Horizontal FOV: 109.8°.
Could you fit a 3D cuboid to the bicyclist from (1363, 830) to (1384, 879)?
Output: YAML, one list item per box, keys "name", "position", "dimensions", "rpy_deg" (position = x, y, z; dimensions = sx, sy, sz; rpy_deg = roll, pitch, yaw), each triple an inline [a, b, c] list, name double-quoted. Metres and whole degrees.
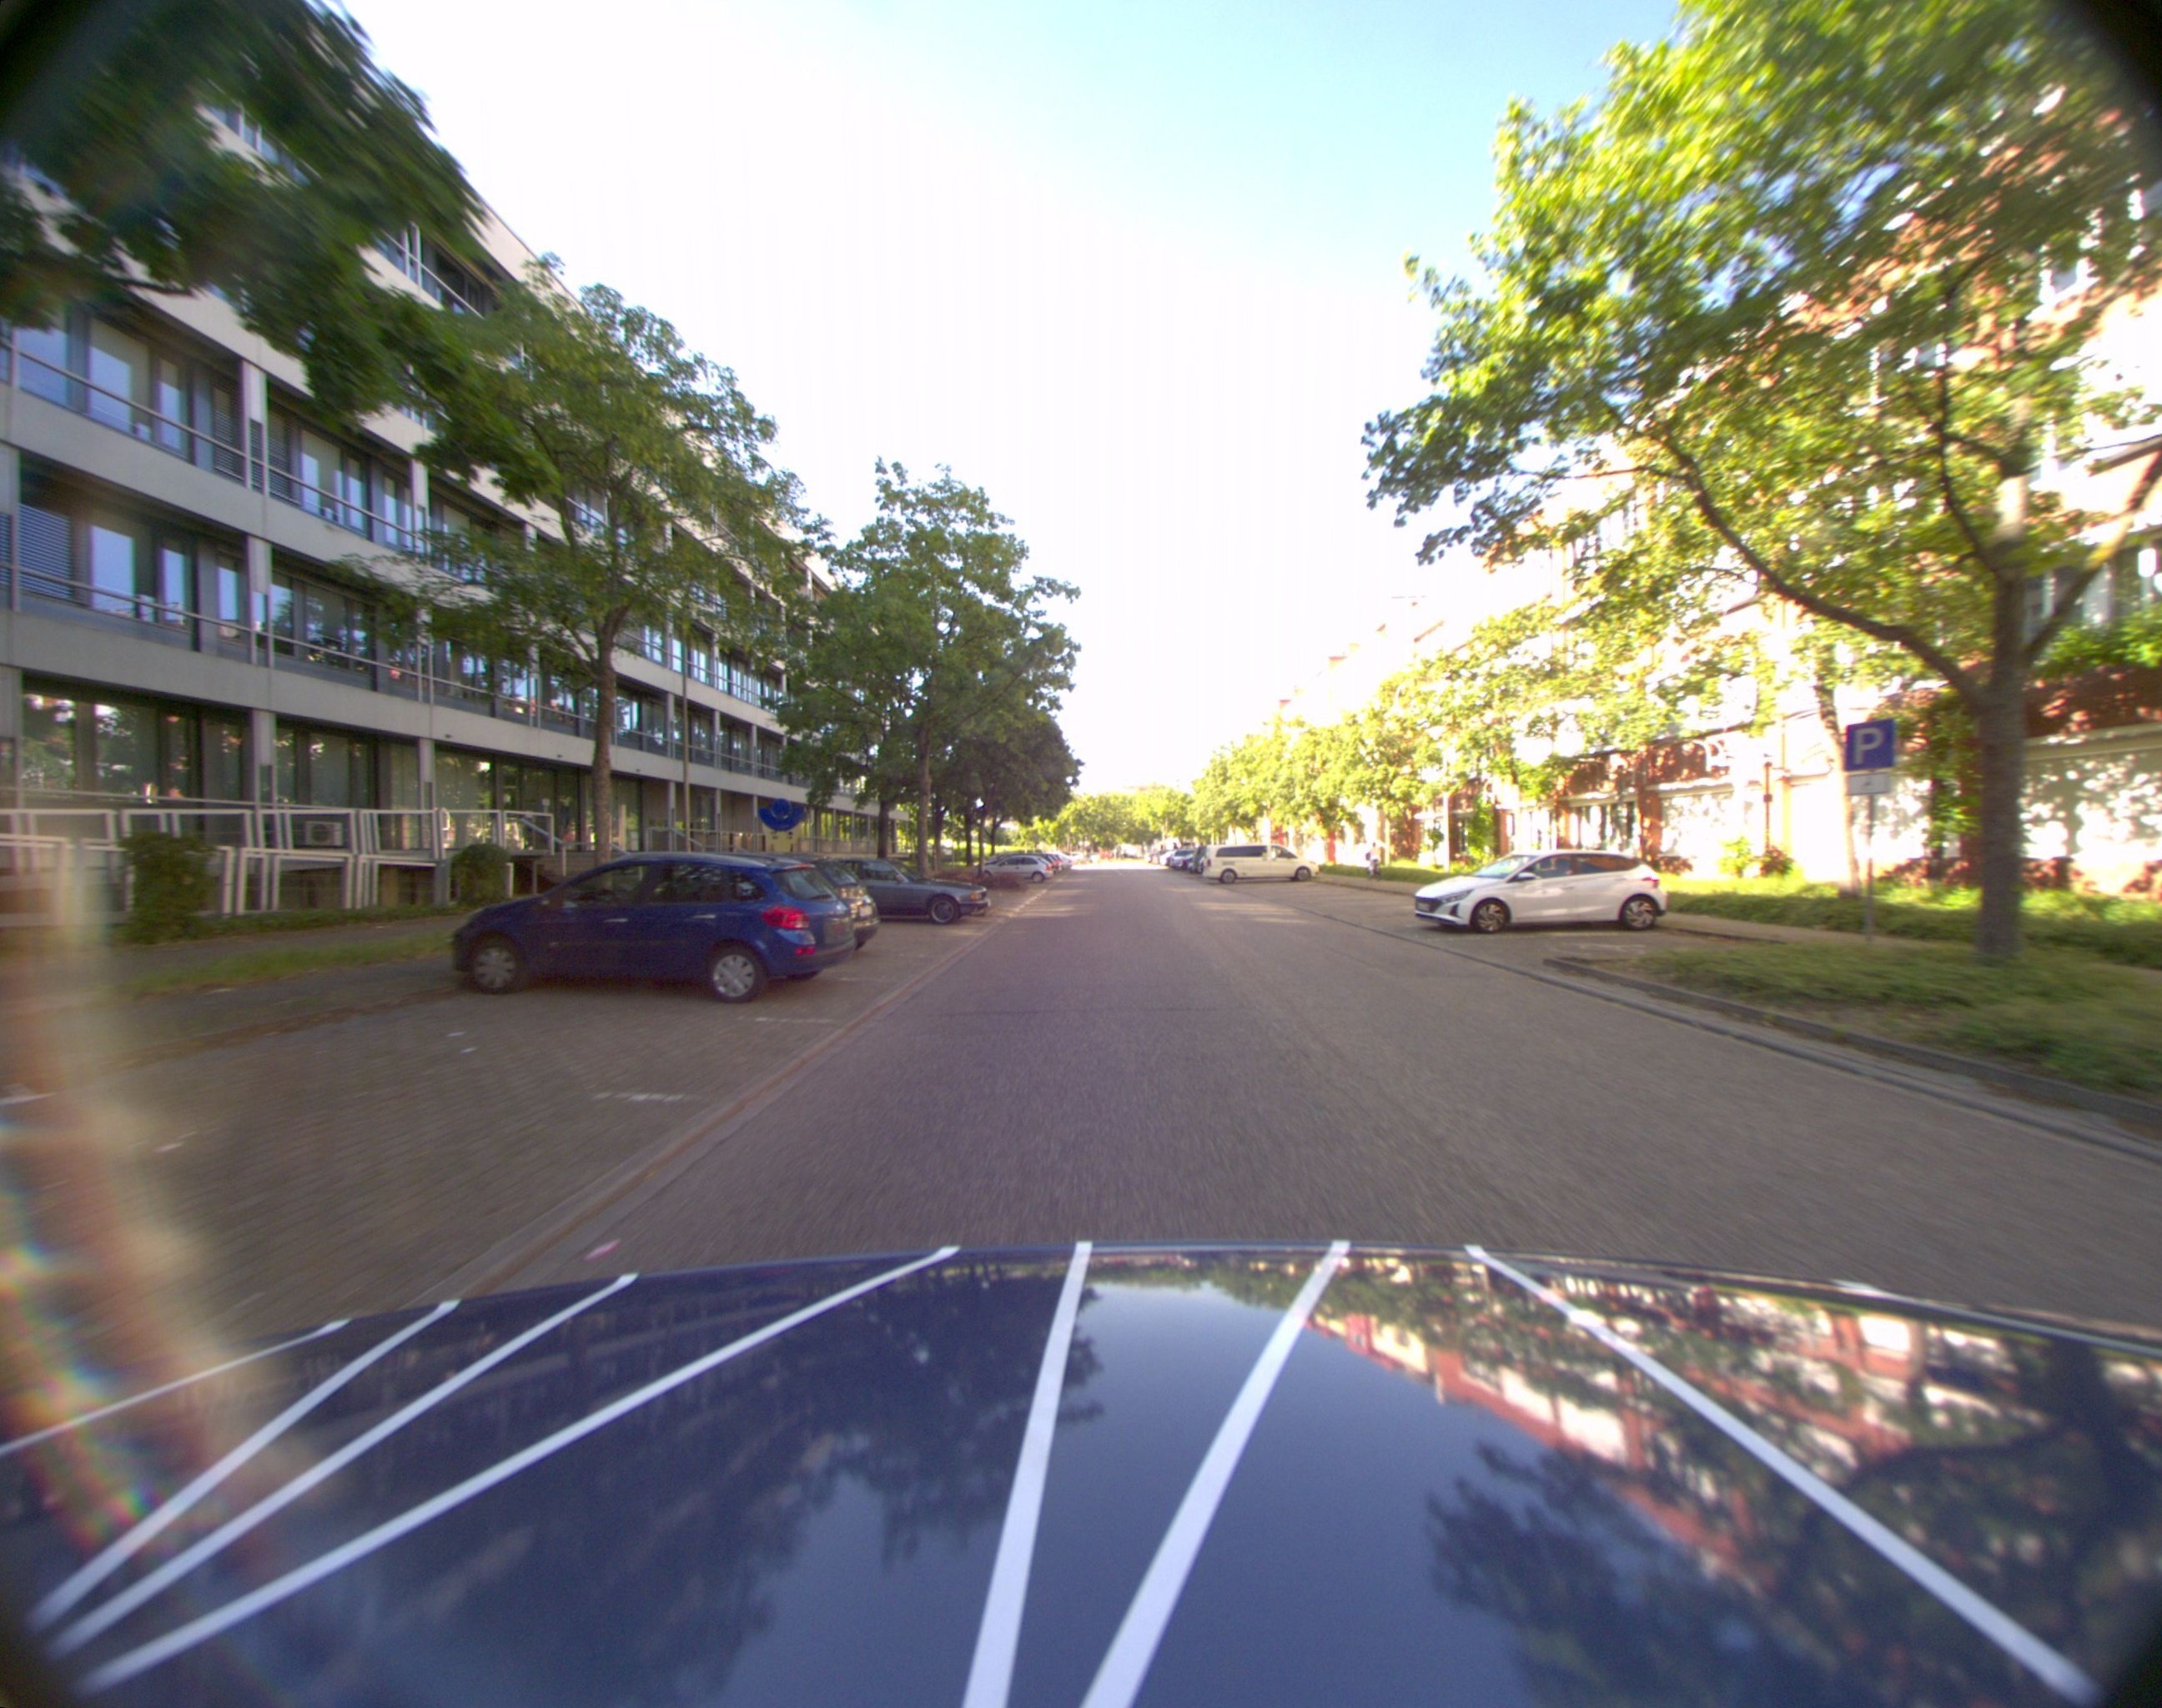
- name: "bicyclist"
  position: [12.331, 0.008, 32.007]
  dimensions: [0.633, 2.002, 0.609]
  rpy_deg: [-2, 1, 5]

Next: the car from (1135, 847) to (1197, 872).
- name: "car"
  position: [5.649, 0.377, 50.702]
  dimensions: [4.006, 1.637, 1.795]
  rpy_deg: [0, 1, 3]

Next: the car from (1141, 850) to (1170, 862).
- name: "car"
  position: [8.896, 0.228, 90.584]
  dimensions: [3.345, 1.464, 1.515]
  rpy_deg: [0, 1, 1]

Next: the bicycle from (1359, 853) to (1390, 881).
- name: "bicycle"
  position: [12.352, 0.527, 32.027]
  dimensions: [0.637, 1.092, 2.156]
  rpy_deg: [0, 1, 6]

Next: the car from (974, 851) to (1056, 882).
- name: "car"
  position: [-3.307, 0.638, 38.722]
  dimensions: [3.997, 1.471, 1.804]
  rpy_deg: [1, 1, -1]

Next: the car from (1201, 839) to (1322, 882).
- name: "car"
  position: [8.571, 0.279, 36.387]
  dimensions: [5.317, 1.876, 2.000]
  rpy_deg: [-1, 1, 3]

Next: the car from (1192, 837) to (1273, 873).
- name: "car"
  position: [9.207, 0.024, 46.612]
  dimensions: [4.633, 2.156, 2.000]
  rpy_deg: [0, 1, 3]

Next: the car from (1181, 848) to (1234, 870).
- name: "car"
  position: [8.828, 0.322, 53.219]
  dimensions: [3.451, 1.547, 1.595]
  rpy_deg: [0, 1, 1]

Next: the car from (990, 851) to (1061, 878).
- name: "car"
  position: [-3.156, 0.594, 44.014]
  dimensions: [3.997, 1.471, 1.804]
  rpy_deg: [1, 1, -1]

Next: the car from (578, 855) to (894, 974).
- name: "car"
  position: [-4.924, 0.814, 11.120]
  dimensions: [3.914, 1.486, 1.588]
  rpy_deg: [1, 1, 5]

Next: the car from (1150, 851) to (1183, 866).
- name: "car"
  position: [9.341, 0.474, 83.389]
  dimensions: [3.451, 1.647, 1.595]
  rpy_deg: [0, 1, 1]

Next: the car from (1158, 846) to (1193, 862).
- name: "car"
  position: [9.942, -0.020, 79.961]
  dimensions: [3.451, 1.647, 1.595]
  rpy_deg: [0, 1, 1]

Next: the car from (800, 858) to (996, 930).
- name: "car"
  position: [-3.919, 0.848, 16.716]
  dimensions: [3.916, 1.374, 1.586]
  rpy_deg: [1, 2, -2]

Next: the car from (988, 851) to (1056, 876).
- name: "car"
  position: [-3.564, 0.569, 46.592]
  dimensions: [3.997, 1.471, 1.804]
  rpy_deg: [1, 1, -1]

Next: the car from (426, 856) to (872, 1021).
- name: "car"
  position: [-4.580, 0.827, 8.403]
  dimensions: [3.995, 1.486, 1.714]
  rpy_deg: [1, 1, 5]

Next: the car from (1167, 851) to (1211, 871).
- name: "car"
  position: [8.971, 0.605, 63.297]
  dimensions: [3.451, 1.647, 1.595]
  rpy_deg: [0, 1, 1]

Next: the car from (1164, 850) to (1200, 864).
- name: "car"
  position: [9.907, 0.282, 74.674]
  dimensions: [3.451, 1.282, 1.595]
  rpy_deg: [0, 1, 1]

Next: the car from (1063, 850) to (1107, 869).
- name: "car"
  position: [0.325, 0.488, 63.719]
  dimensions: [3.554, 1.544, 1.743]
  rpy_deg: [1, -1, -1]

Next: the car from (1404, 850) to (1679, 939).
- name: "car"
  position: [8.246, 0.696, 13.858]
  dimensions: [4.003, 1.411, 1.618]
  rpy_deg: [-2, 1, 1]

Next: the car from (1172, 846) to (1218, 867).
- name: "car"
  position: [9.155, 0.187, 61.238]
  dimensions: [3.451, 1.619, 1.595]
  rpy_deg: [0, 1, 1]
